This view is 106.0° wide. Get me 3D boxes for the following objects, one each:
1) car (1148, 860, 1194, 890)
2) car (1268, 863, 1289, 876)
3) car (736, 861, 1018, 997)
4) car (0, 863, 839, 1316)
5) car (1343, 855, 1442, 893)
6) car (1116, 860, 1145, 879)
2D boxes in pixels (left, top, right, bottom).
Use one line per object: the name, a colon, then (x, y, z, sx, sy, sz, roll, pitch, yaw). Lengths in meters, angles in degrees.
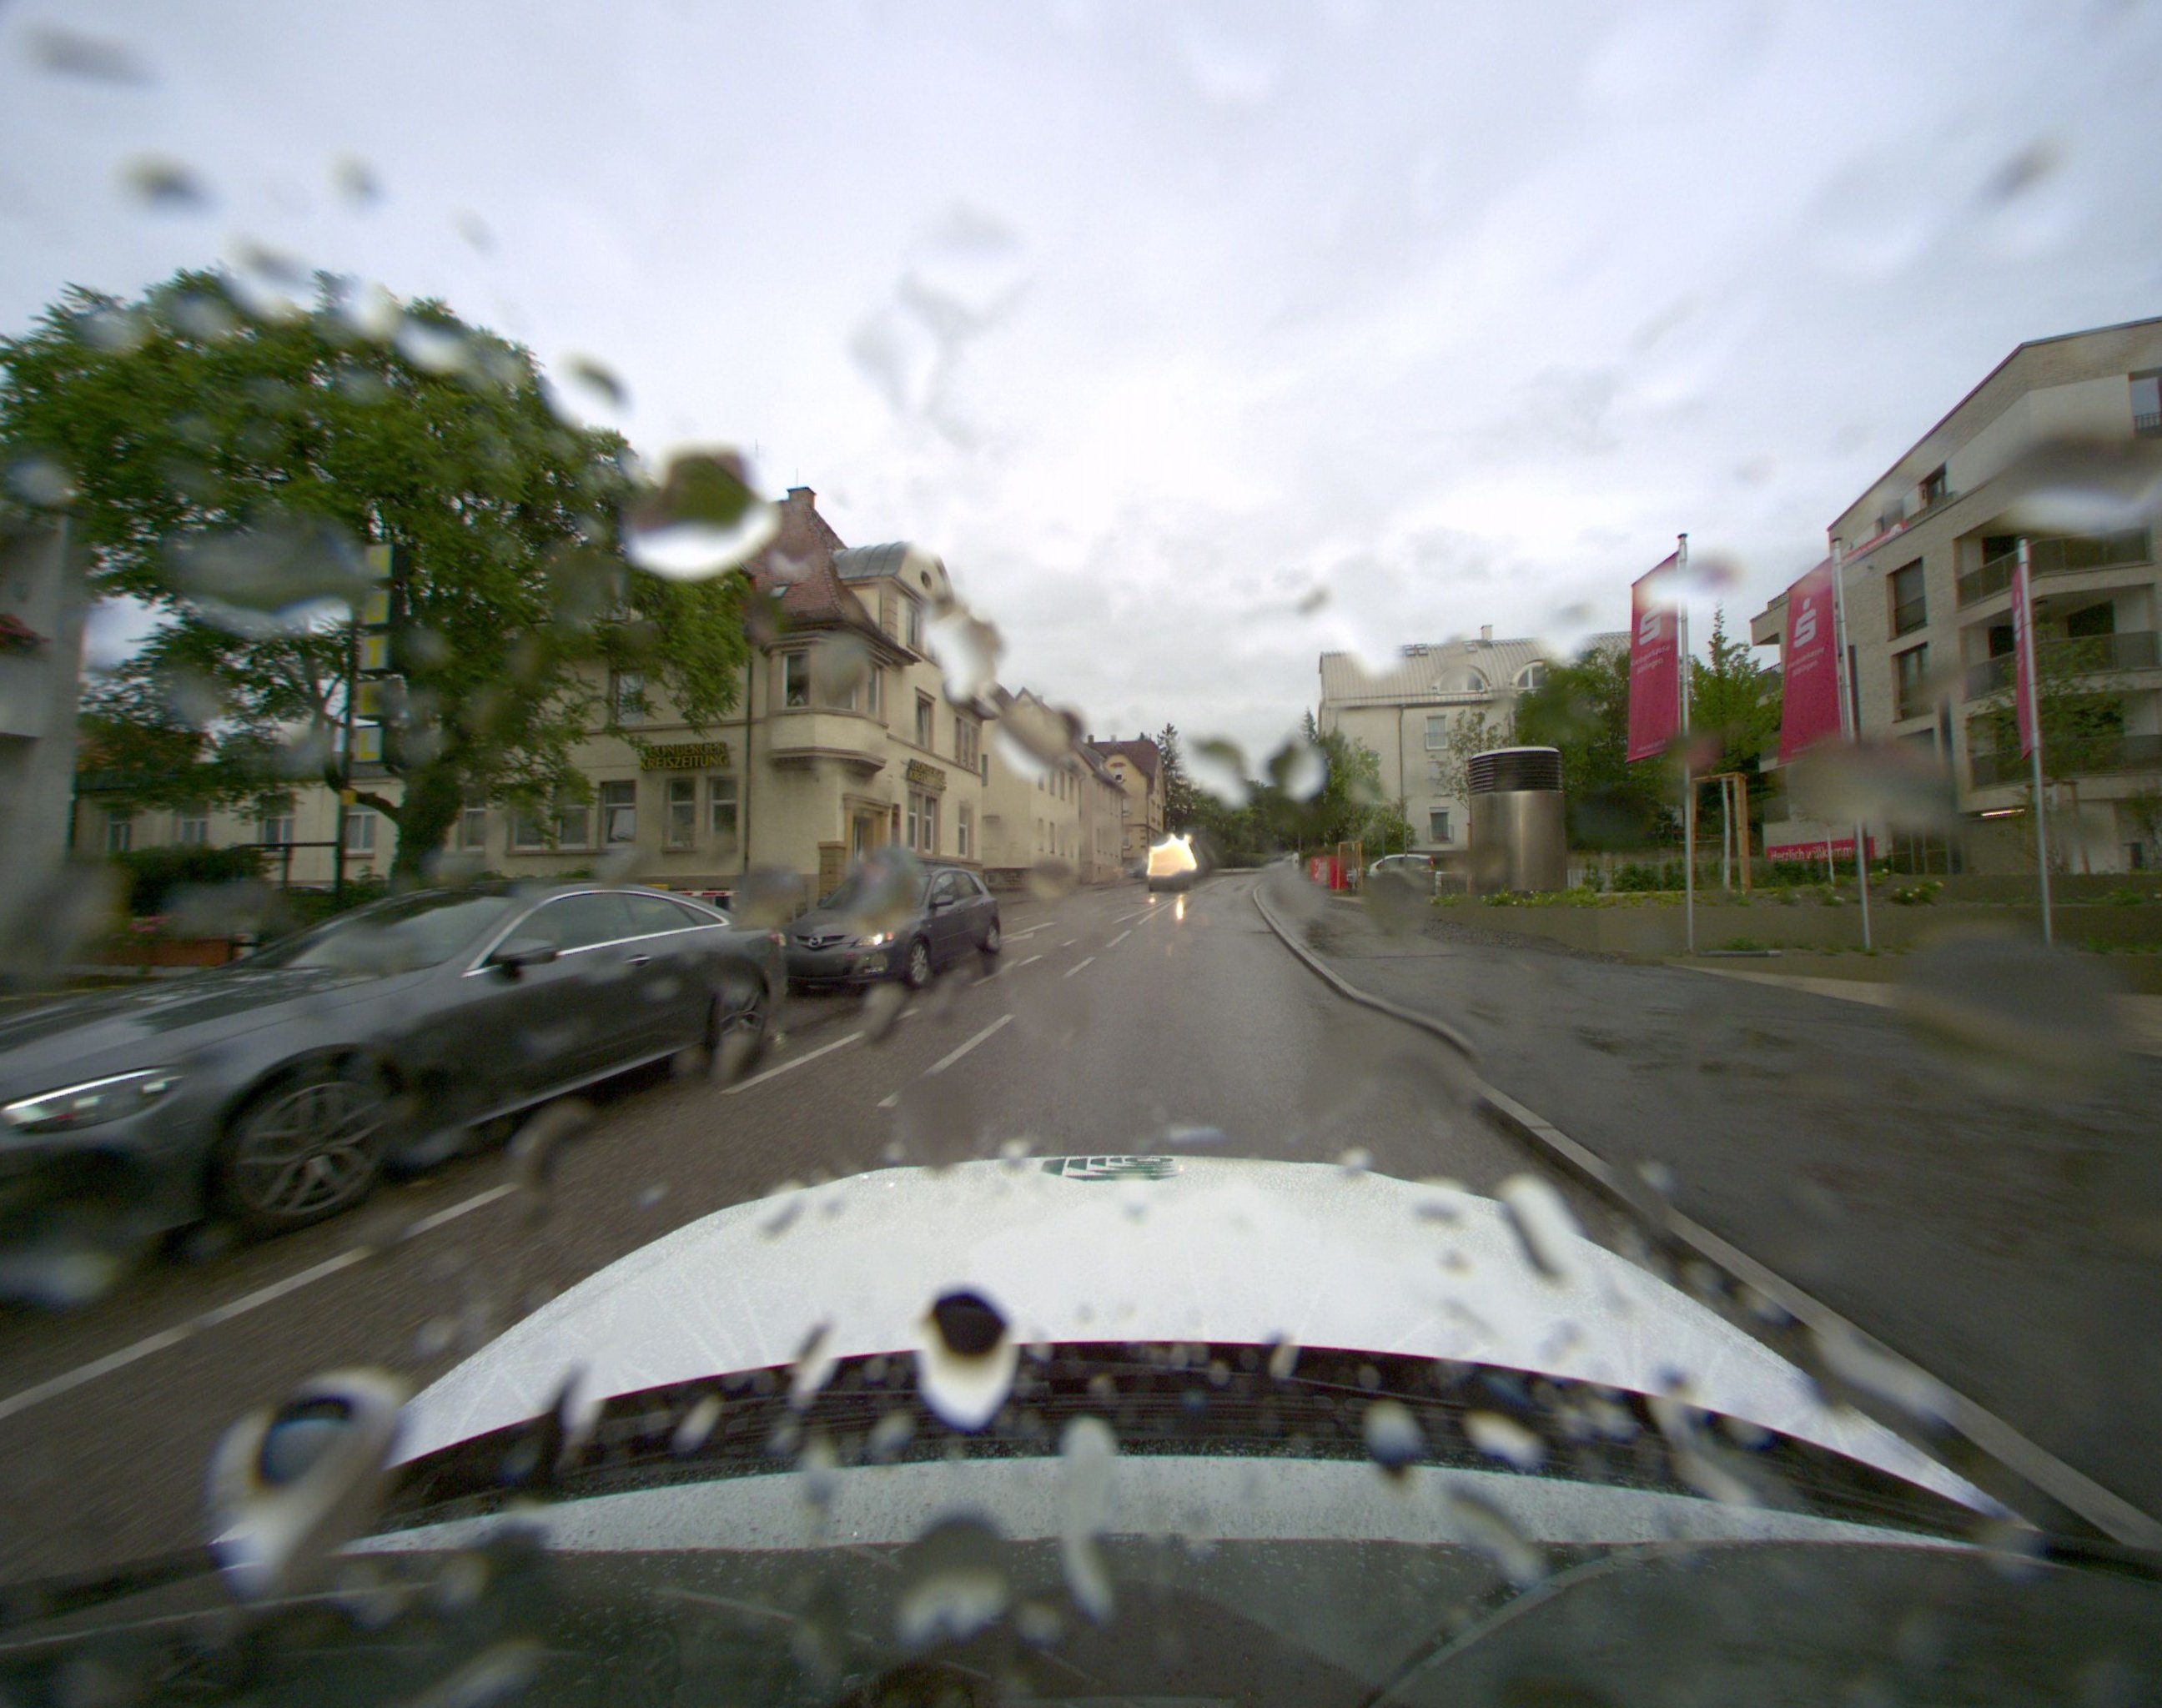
car: (4.619, 1.024, 41.240, 1.786, 1.439, 4.706, -1, -1, 13)
car: (25.201, 2.008, 103.867, 1.729, 1.571, 3.835, 2, 0, 27)
car: (-2.439, 0.833, 11.193, 1.786, 1.439, 4.706, -1, -1, 13)
car: (-3.744, 0.801, 5.301, 1.927, 1.440, 5.033, -1, -1, 13)
car: (12.872, 0.804, 33.884, 3.641, 1.503, 1.783, 0, 0, 13)
car: (4.258, 1.291, 69.617, 1.757, 1.503, 3.898, 0, 0, 15)
